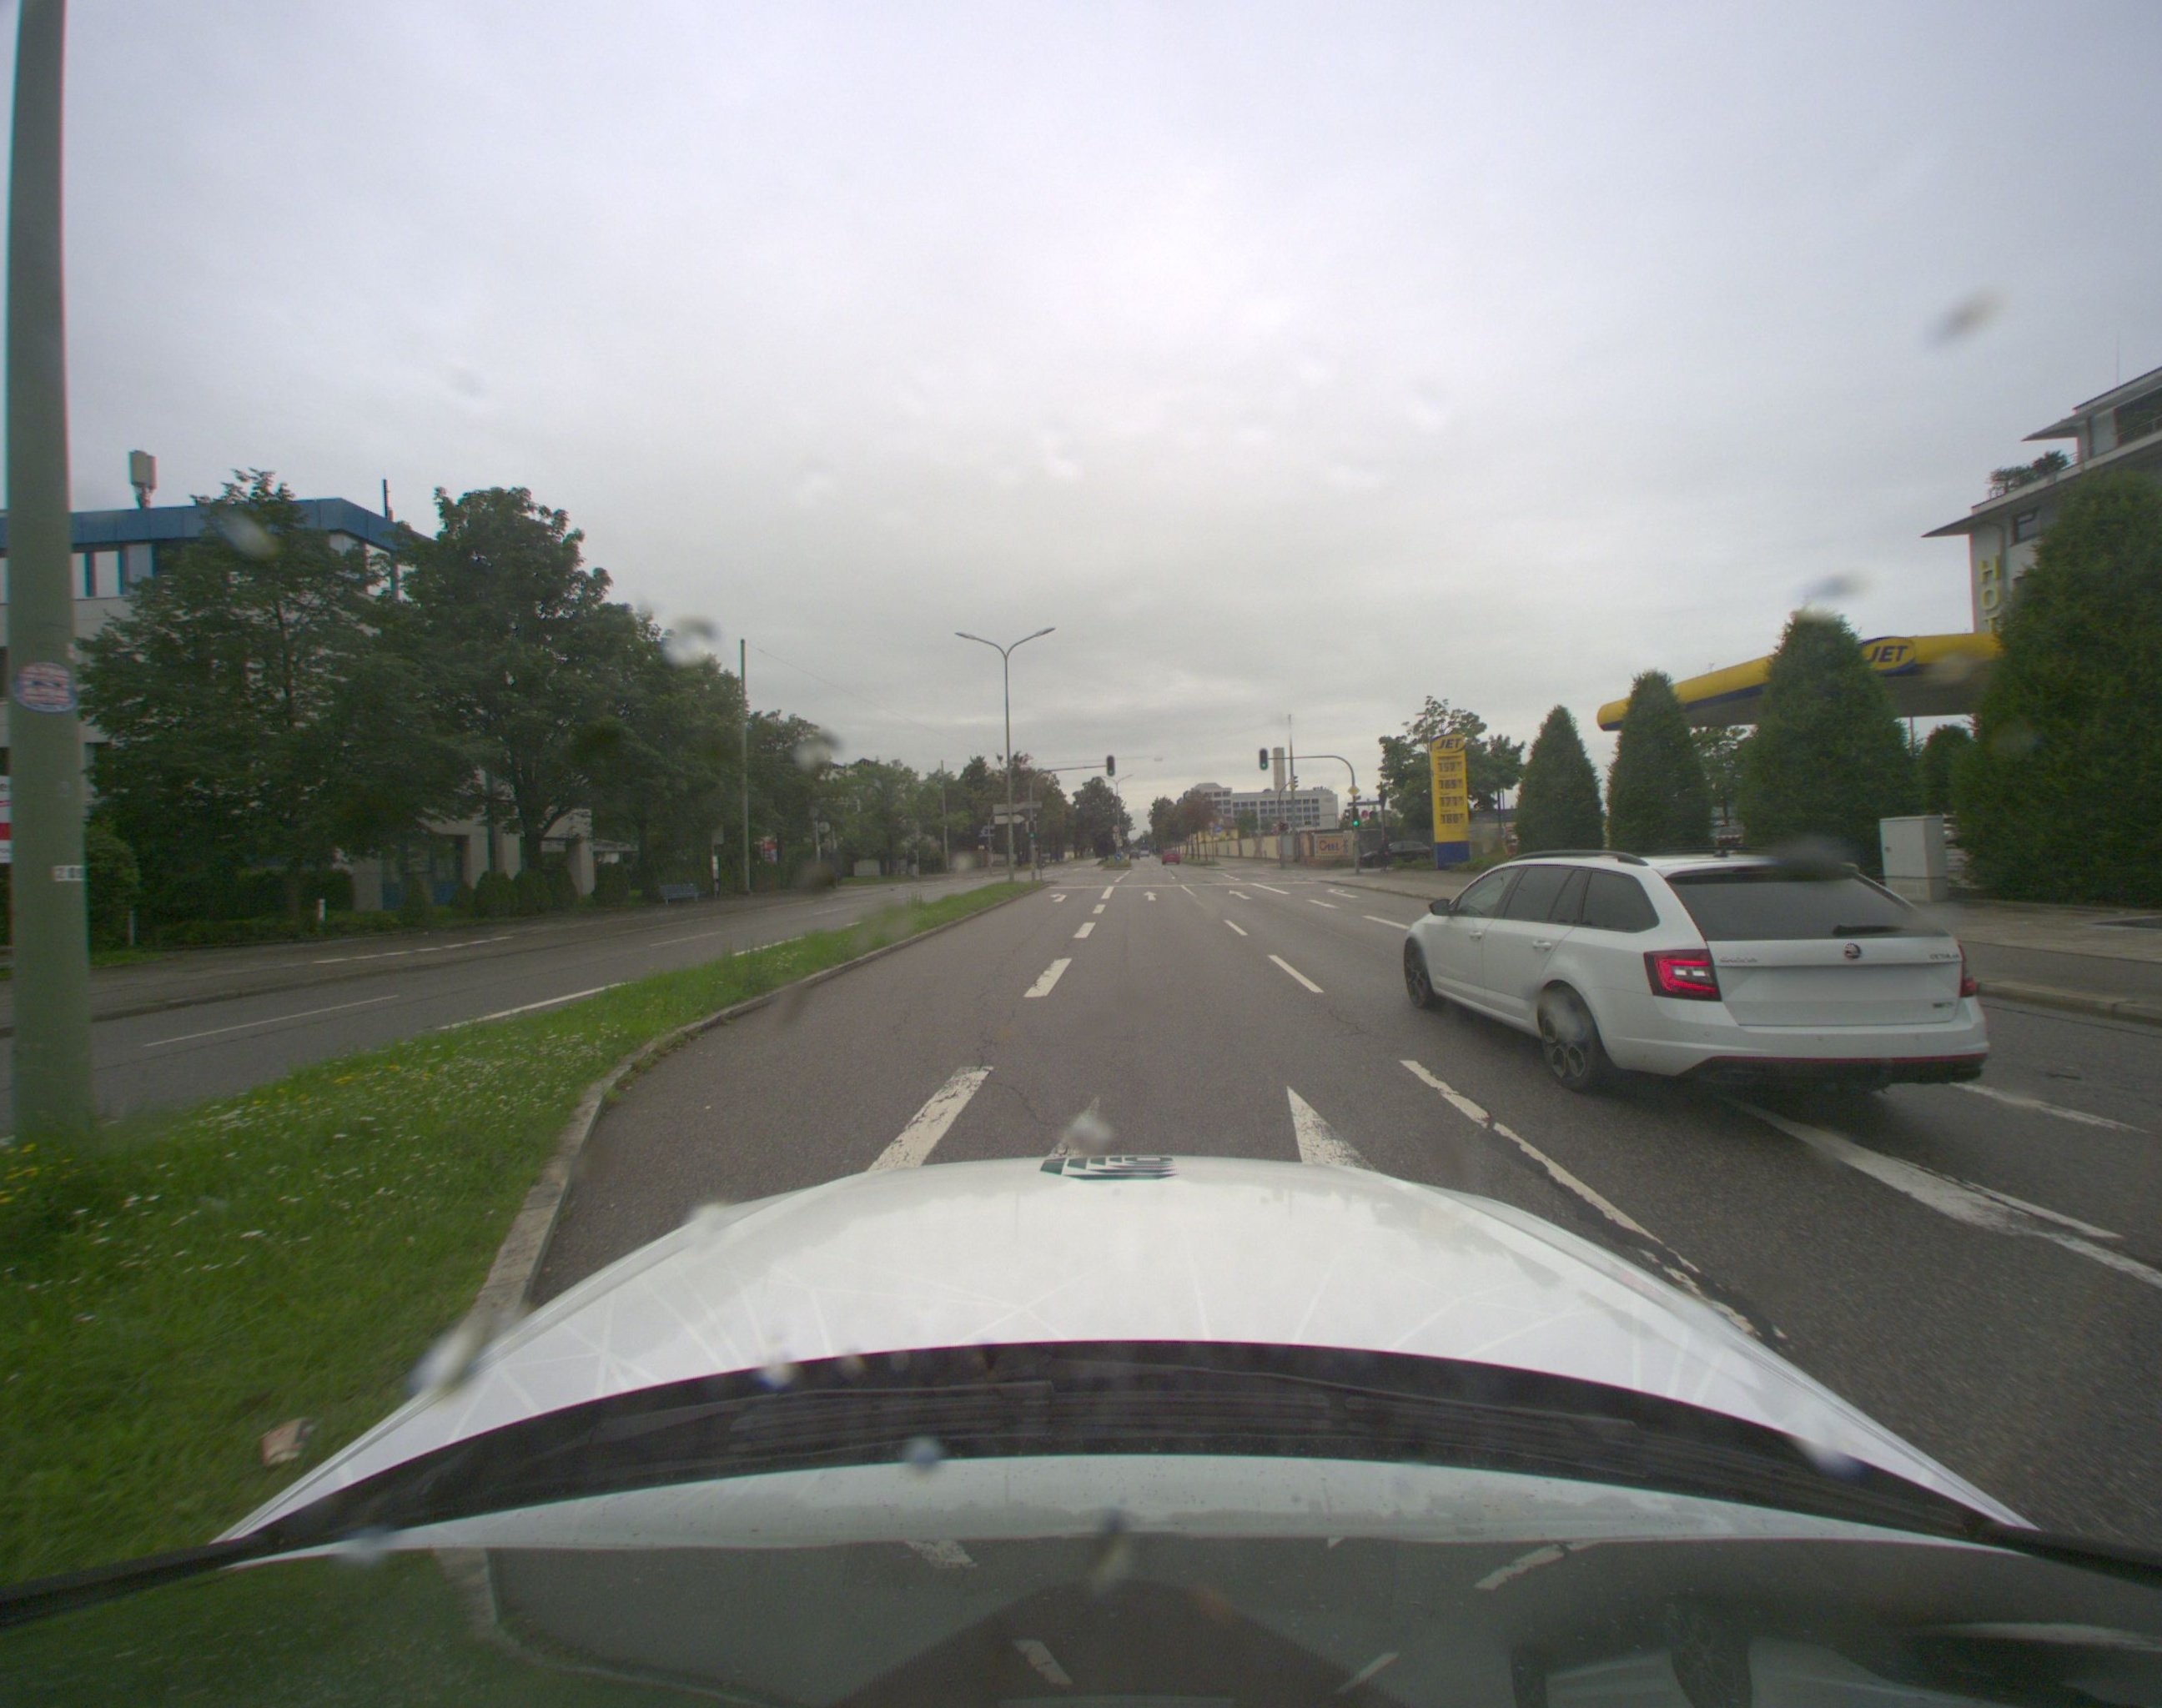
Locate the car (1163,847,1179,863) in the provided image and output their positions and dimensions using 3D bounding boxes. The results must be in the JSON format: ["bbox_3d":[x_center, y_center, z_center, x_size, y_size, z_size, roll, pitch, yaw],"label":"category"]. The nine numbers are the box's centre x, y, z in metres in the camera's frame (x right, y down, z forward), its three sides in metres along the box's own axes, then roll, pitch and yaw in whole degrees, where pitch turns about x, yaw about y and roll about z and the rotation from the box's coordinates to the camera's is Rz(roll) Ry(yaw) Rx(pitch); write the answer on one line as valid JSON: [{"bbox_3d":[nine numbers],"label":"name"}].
[{"bbox_3d":[9.799,0.142,88.883,1.478,1.715,3.553,-1,0,2],"label":"car"}]

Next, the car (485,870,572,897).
[{"bbox_3d":[-30.695,1.624,45.250,4.128,1.418,1.879,-1,0,20],"label":"car"}]

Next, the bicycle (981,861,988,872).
[{"bbox_3d":[-12.095,1.548,102.164,0.580,1.296,2.455,-1,0,1],"label":"bicycle"}]

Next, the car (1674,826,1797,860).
[{"bbox_3d":[29.098,-0.443,36.410,1.696,1.384,4.353,-1,0,-6],"label":"car"}]

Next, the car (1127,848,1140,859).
[{"bbox_3d":[9.328,-0.032,144.540,2.076,1.866,4.388,-1,0,2],"label":"car"}]

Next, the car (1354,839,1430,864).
[{"bbox_3d":[20.070,-0.150,52.688,4.229,1.428,2.003,-3,0,6],"label":"car"}]

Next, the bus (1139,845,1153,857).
[{"bbox_3d":[17.467,-0.798,219.245,3.208,3.127,10.350,-1,0,2],"label":"bus"}]

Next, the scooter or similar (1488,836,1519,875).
[{"bbox_3d":[14.018,0.048,27.050,0.354,1.242,1.549,-5,-1,8],"label":"scooter or similar"}]

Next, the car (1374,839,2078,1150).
[{"bbox_3d":[3.925,0.686,6.194,1.871,1.468,4.504,-1,0,2],"label":"car"}]

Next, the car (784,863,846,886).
[{"bbox_3d":[-21.573,1.658,66.149,4.240,1.574,2.007,-3,2,12],"label":"car"}]

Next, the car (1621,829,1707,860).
[{"bbox_3d":[30.036,-0.466,42.097,1.617,1.486,3.979,-1,0,2],"label":"car"}]

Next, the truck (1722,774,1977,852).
[{"bbox_3d":[45.591,-2.356,48.603,11.838,3.855,2.614,-3,-1,5],"label":"truck"}]

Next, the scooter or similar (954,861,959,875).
[{"bbox_3d":[-12.690,1.386,82.802,0.370,1.424,1.400,-1,0,-12],"label":"scooter or similar"}]

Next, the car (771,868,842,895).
[{"bbox_3d":[-19.675,1.975,58.350,4.731,1.723,2.012,-3,-1,26],"label":"car"}]
